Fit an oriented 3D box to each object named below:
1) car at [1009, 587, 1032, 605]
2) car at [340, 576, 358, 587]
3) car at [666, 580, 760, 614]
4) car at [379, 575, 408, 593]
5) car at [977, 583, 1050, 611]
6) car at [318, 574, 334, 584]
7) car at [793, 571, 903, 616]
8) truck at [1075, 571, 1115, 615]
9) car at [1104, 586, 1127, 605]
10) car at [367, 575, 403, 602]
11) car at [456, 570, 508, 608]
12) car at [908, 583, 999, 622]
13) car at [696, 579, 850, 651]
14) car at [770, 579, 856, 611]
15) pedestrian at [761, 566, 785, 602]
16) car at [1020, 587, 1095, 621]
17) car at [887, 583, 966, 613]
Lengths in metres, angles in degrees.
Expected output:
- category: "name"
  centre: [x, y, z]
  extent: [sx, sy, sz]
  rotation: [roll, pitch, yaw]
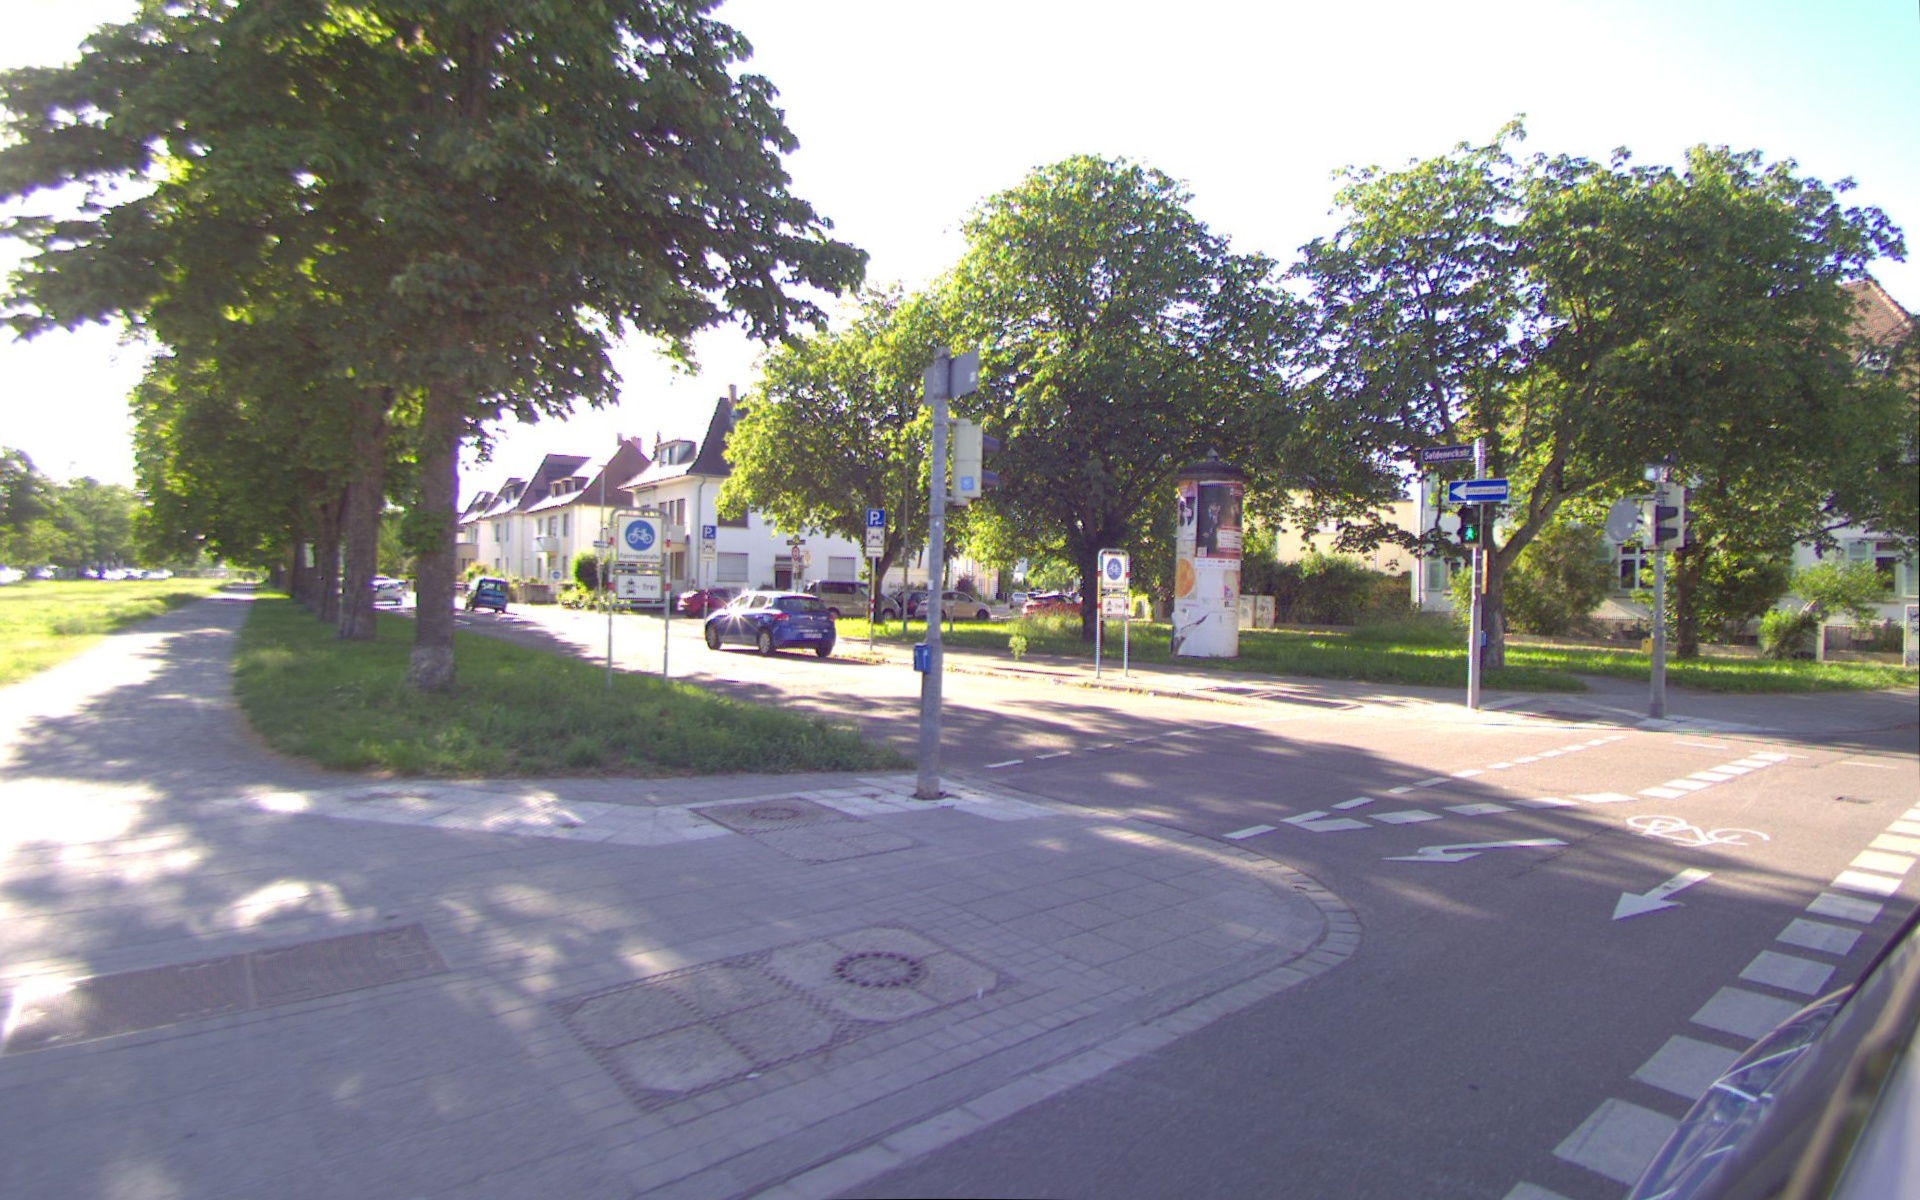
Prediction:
- category: "car"
  centre: [5.279, -0.380, 87.690]
  extent: [1.729, 1.489, 3.888]
  rotation: [1, 1, 8]
- category: "car"
  centre: [-79.409, -2.426, 131.484]
  extent: [1.791, 1.451, 4.000]
  rotation: [1, 1, -35]
- category: "car"
  centre: [-11.351, -0.142, 46.675]
  extent: [3.823, 1.489, 1.759]
  rotation: [1, 1, -36]
- category: "car"
  centre: [-50.153, -1.415, 89.522]
  extent: [1.791, 1.451, 4.000]
  rotation: [1, 1, -35]
- category: "car"
  centre: [2.999, -0.166, 56.452]
  extent: [3.823, 1.489, 1.759]
  rotation: [1, 1, -36]
- category: "car"
  centre: [-95.677, -3.209, 152.746]
  extent: [1.791, 1.451, 4.000]
  rotation: [1, 1, -35]
- category: "car"
  centre: [-4.775, -0.273, 43.413]
  extent: [4.258, 1.859, 1.924]
  rotation: [1, 1, -34]
- category: "truck"
  centre: [8.303, -0.452, 62.455]
  extent: [1.963, 2.608, 4.977]
  rotation: [1, 1, 2]
- category: "car"
  centre: [12.834, -0.401, 83.698]
  extent: [1.729, 1.489, 3.888]
  rotation: [1, 1, 8]
- category: "car"
  centre: [-33.717, -0.652, 59.265]
  extent: [1.640, 1.451, 3.896]
  rotation: [-2, 0, -32]
- category: "car"
  centre: [-25.058, -0.563, 52.950]
  extent: [1.782, 1.848, 3.999]
  rotation: [-2, 0, -35]
- category: "car"
  centre: [-0.308, 0.104, 46.227]
  extent: [3.637, 1.668, 1.926]
  rotation: [1, 1, -29]
- category: "car"
  centre: [-4.439, 0.316, 23.614]
  extent: [1.784, 1.451, 3.996]
  rotation: [3, -1, -40]
- category: "car"
  centre: [-7.235, -0.237, 49.930]
  extent: [3.823, 1.489, 1.759]
  rotation: [1, 1, -36]
- category: "pedestrian"
  centre: [-9.644, -0.814, 52.240]
  extent: [0.882, 1.792, 1.025]
  rotation: [1, -2, -33]
- category: "car"
  centre: [4.900, 0.232, 50.358]
  extent: [1.600, 1.554, 4.219]
  rotation: [2, 0, 40]
- category: "car"
  centre: [-1.750, -0.116, 53.734]
  extent: [3.821, 1.489, 1.760]
  rotation: [1, 1, -34]
